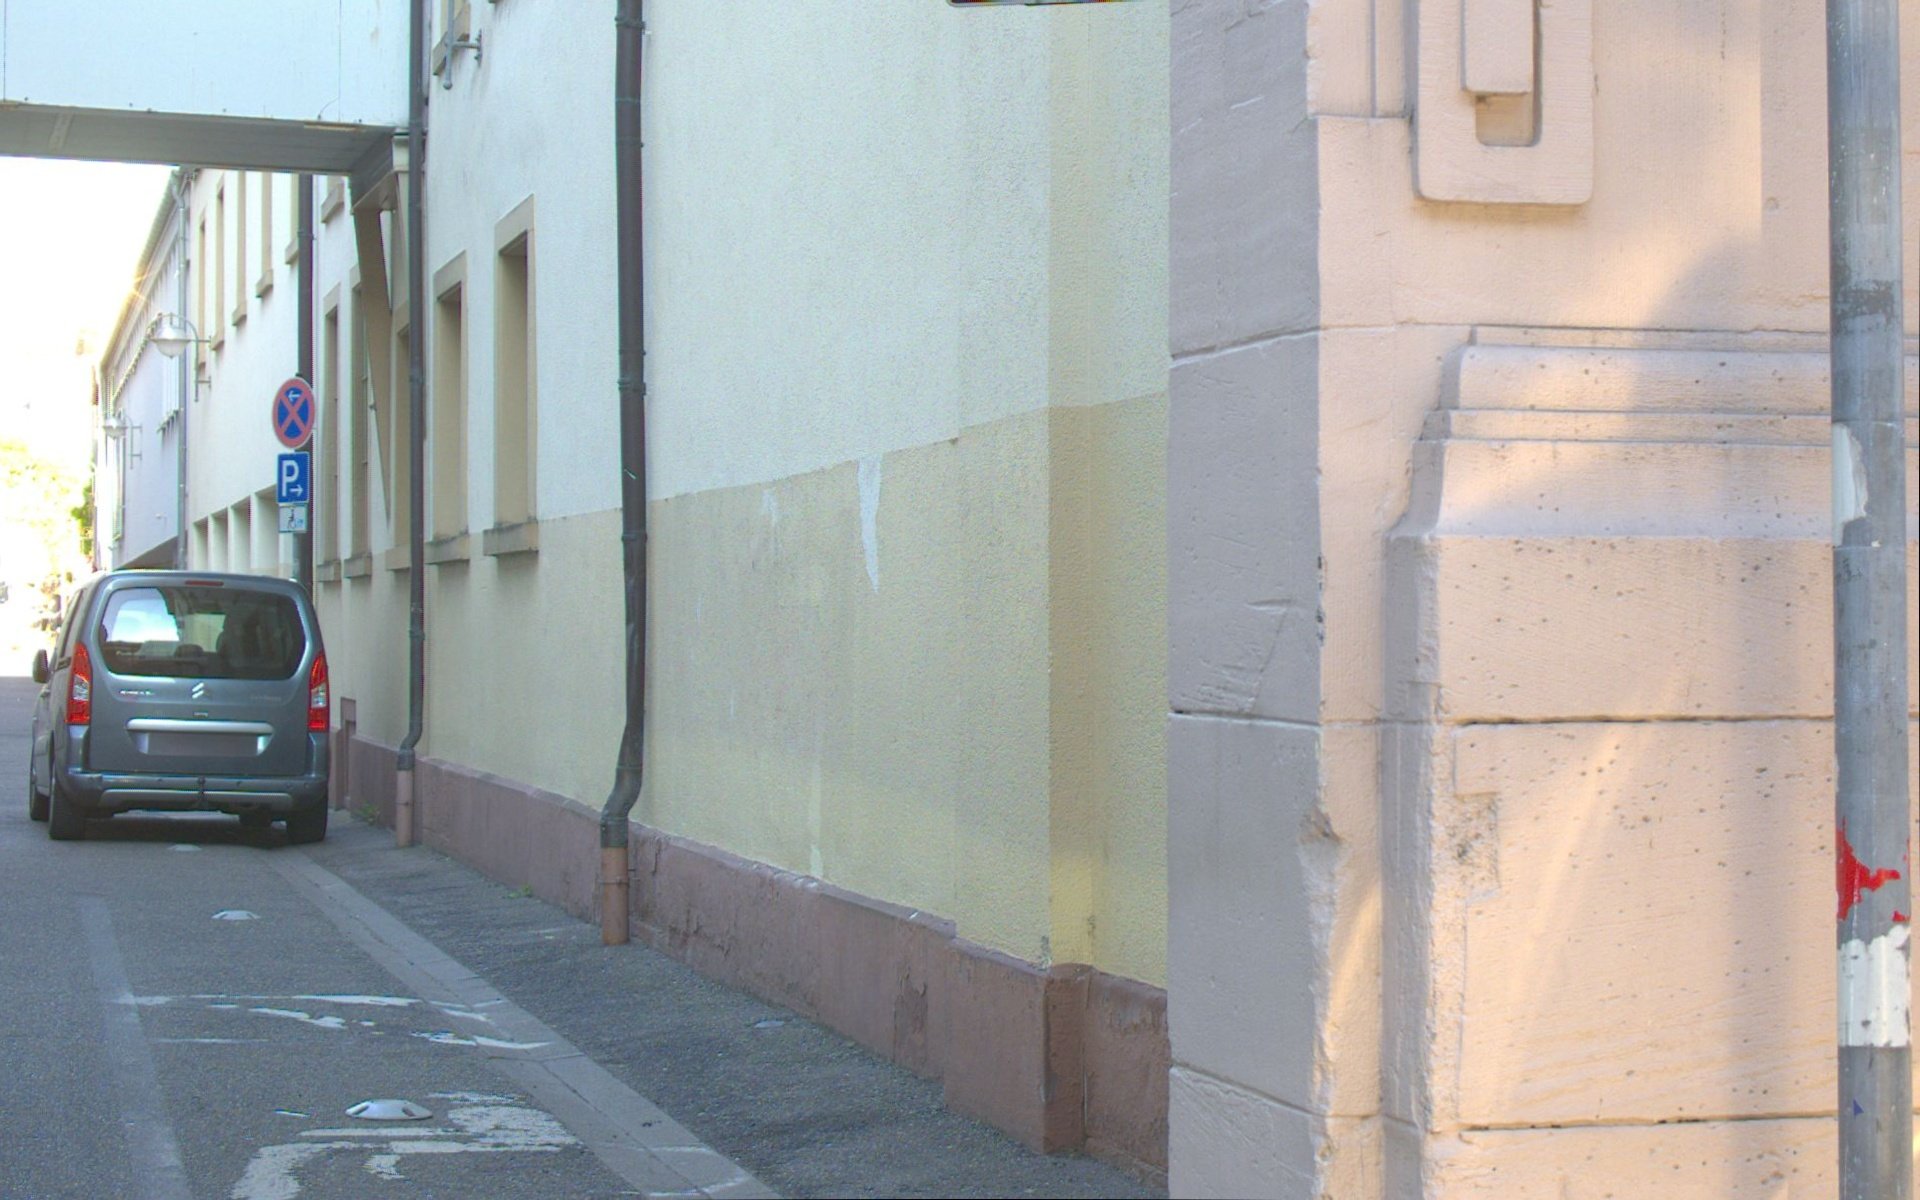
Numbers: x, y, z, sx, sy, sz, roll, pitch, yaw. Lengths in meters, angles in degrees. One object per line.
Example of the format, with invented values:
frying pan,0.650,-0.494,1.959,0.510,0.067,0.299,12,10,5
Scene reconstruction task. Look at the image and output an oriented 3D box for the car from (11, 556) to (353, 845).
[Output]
car,-5.492,0.634,23.902,1.854,1.750,4.163,4,-1,-18
